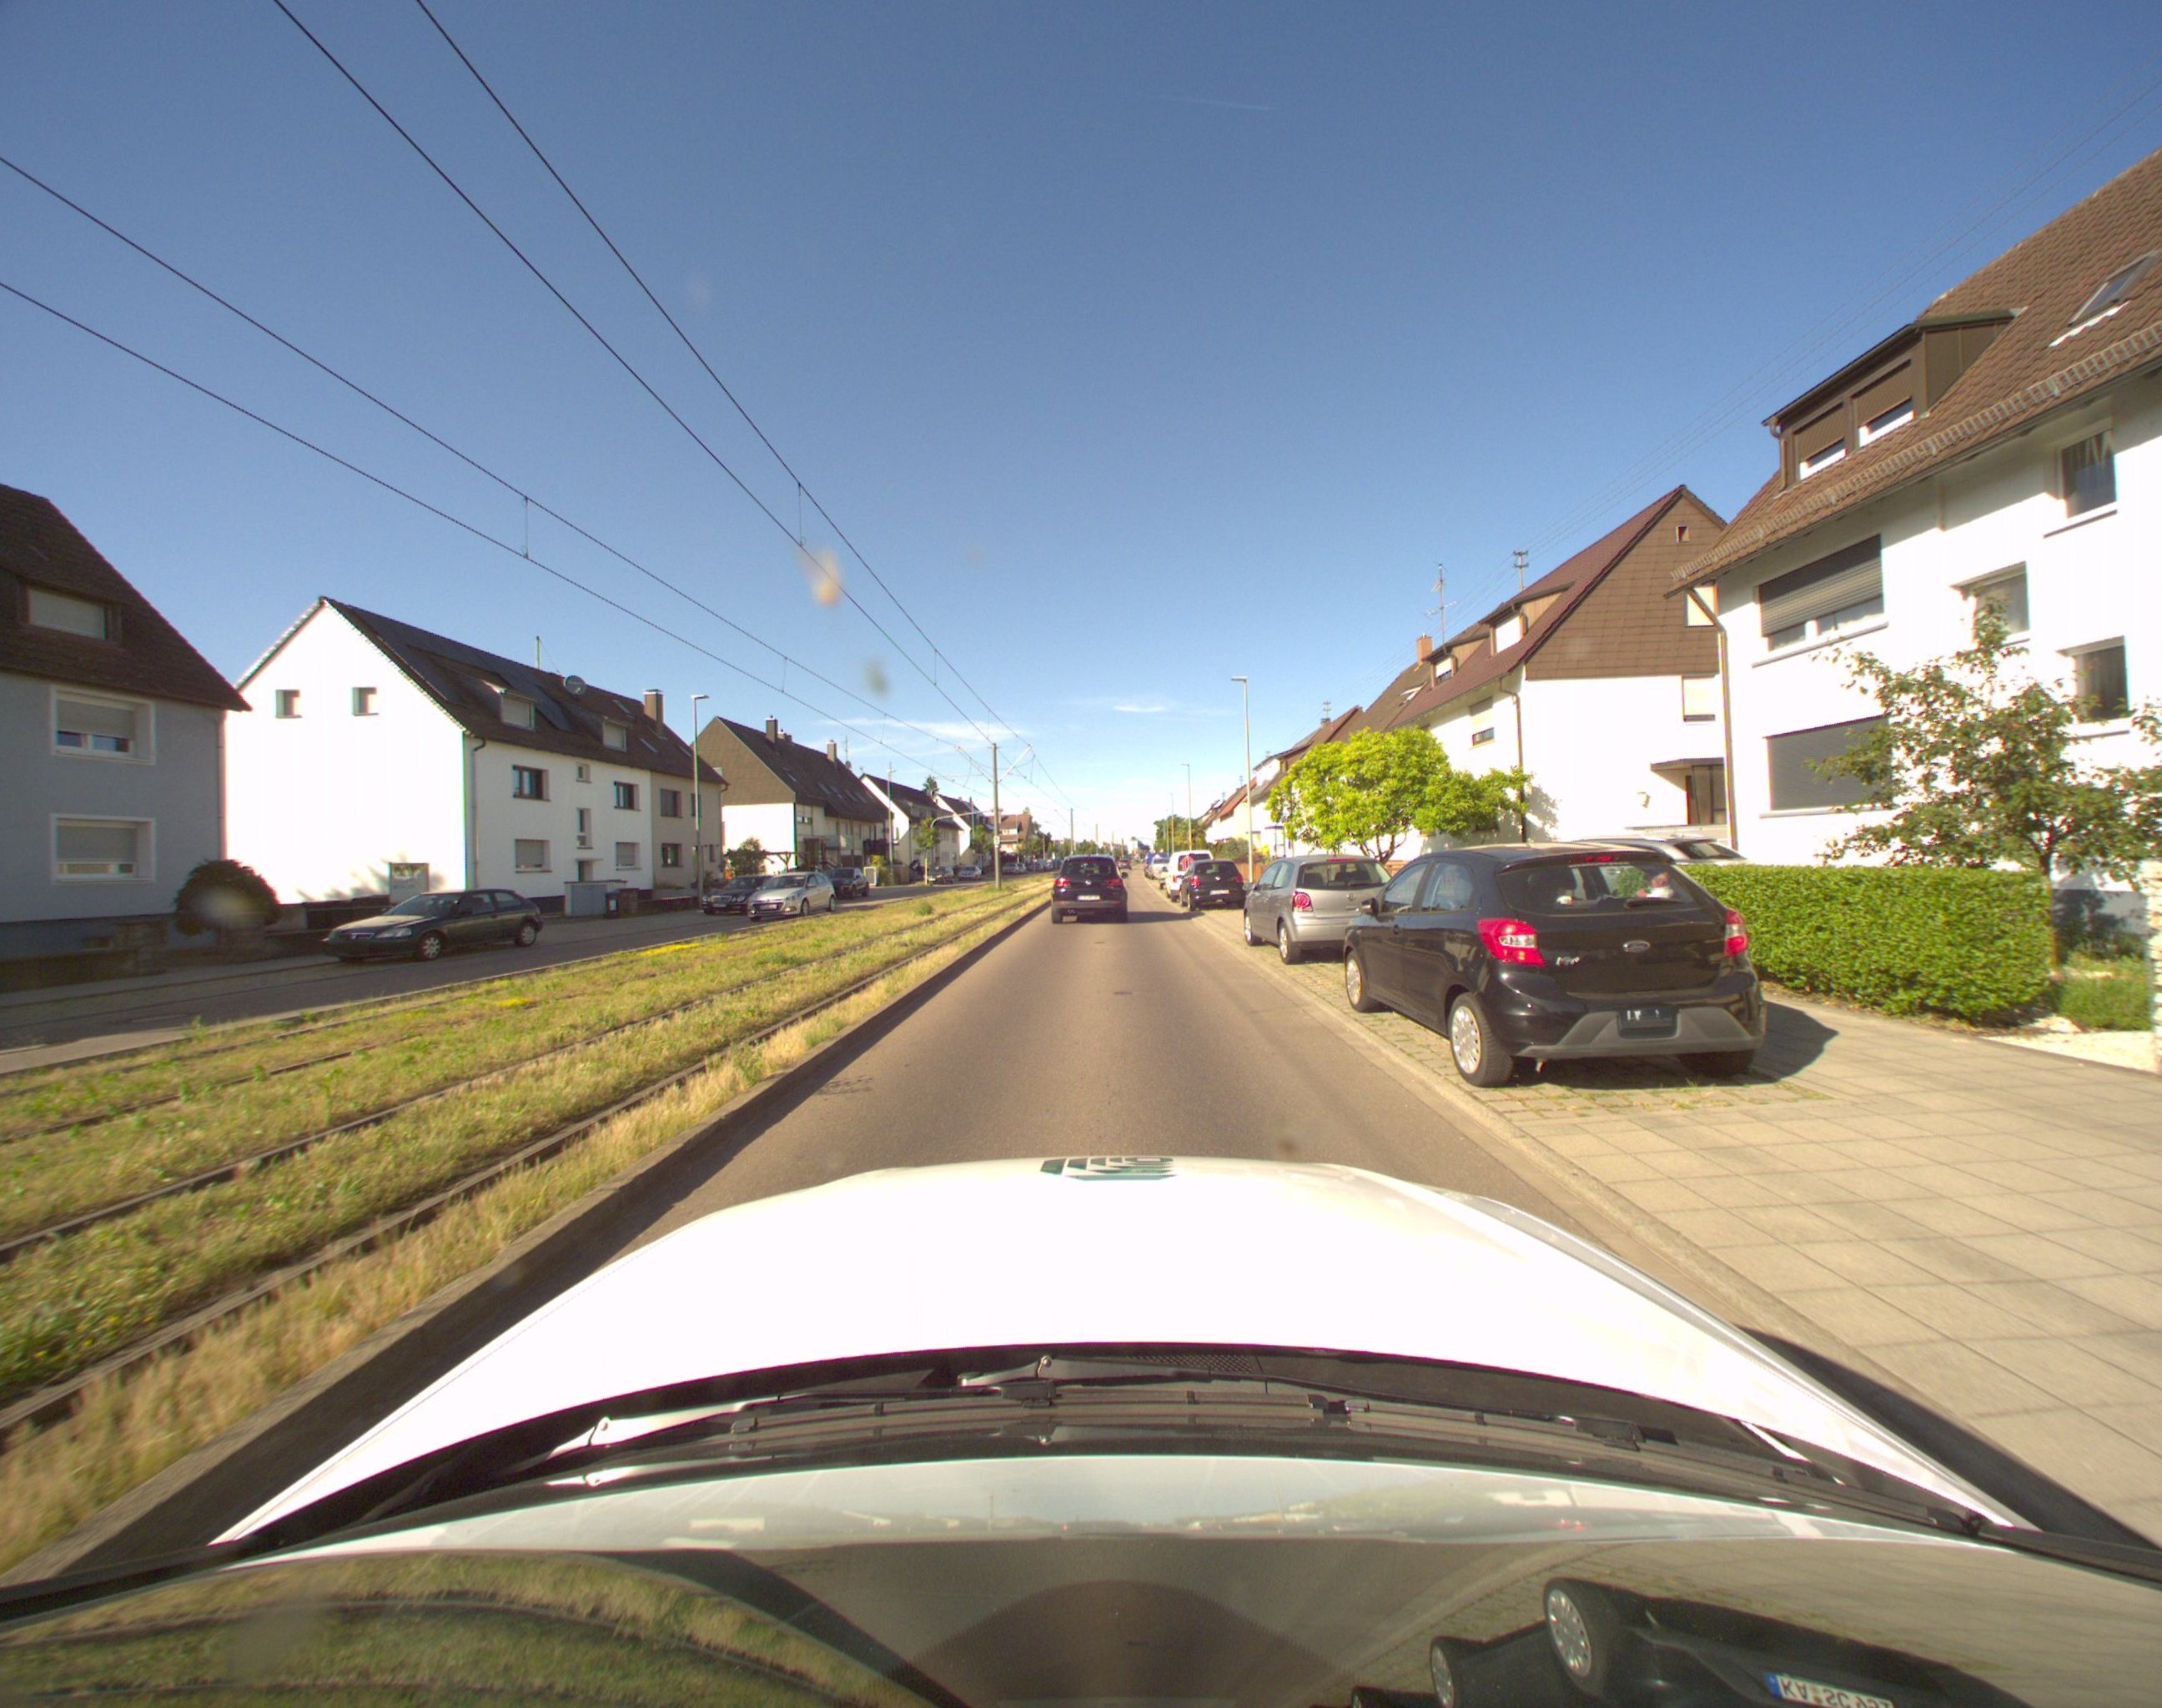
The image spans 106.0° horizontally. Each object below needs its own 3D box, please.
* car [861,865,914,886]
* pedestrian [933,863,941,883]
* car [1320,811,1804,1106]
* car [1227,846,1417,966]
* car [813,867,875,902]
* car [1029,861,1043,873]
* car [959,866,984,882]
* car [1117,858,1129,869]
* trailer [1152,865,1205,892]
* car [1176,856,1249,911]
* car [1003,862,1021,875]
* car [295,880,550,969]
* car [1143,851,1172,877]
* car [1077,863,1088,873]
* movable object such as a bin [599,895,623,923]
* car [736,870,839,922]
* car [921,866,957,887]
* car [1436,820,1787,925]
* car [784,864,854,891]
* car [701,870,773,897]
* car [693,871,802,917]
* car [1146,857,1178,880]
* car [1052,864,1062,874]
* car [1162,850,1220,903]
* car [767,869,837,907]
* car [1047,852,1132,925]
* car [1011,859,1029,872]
[{"bbox_3d":[-15.924,1.778,67.193,3.895,1.568,1.732,-2,-1,-5],"label":"car"},{"bbox_3d":[-12.421,1.629,70.220,0.466,1.746,0.536,-2,-1,2],"label":"pedestrian"},{"bbox_3d":[3.259,0.599,6.502,1.659,1.547,3.838,-4,-1,3],"label":"car"},{"bbox_3d":[3.475,0.692,12.625,1.610,1.475,4.449,-2,-1,0],"label":"car"},{"bbox_3d":[-12.265,1.515,42.430,1.797,1.597,4.810,-2,0,-1],"label":"car"},{"bbox_3d":[-6.725,1.982,121.898,1.653,1.581,4.002,-2,-2,3],"label":"car"},{"bbox_3d":[-10.268,1.920,76.575,1.612,1.409,3.720,-2,-2,3],"label":"car"},{"bbox_3d":[5.631,1.274,110.337,1.566,1.391,3.616,-2,0,2],"label":"car"},{"bbox_3d":[4.803,1.183,40.609,2.196,1.094,4.373,-4,-1,2],"label":"trailer"},{"bbox_3d":[3.886,0.848,24.693,1.664,1.453,4.128,-3,-1,2],"label":"car"},{"bbox_3d":[-8.480,1.740,99.692,1.652,1.497,3.582,-3,0,3],"label":"car"},{"bbox_3d":[-13.515,1.366,17.113,1.783,1.463,4.169,-2,0,3],"label":"car"},{"bbox_3d":[5.936,0.759,63.838,1.985,1.862,4.920,-2,0,3],"label":"car"},{"bbox_3d":[0.286,2.745,157.451,1.866,1.655,4.002,-2,-2,3],"label":"car"},{"bbox_3d":[-15.990,1.872,27.730,0.387,0.927,0.704,-2,-2,1],"label":"movable object such as a bin"},{"bbox_3d":[-9.443,1.344,26.548,1.701,1.491,4.026,-2,-2,3],"label":"car"},{"bbox_3d":[-11.065,1.710,63.696,1.610,1.453,3.725,-3,0,7],"label":"car"},{"bbox_3d":[8.938,0.315,14.323,2.002,1.445,4.844,-3,0,-23],"label":"car"},{"bbox_3d":[-18.112,1.608,56.425,4.154,1.617,1.758,-2,0,-2],"label":"car"},{"bbox_3d":[-23.744,2.007,56.291,4.138,1.654,1.859,-2,0,5],"label":"car"},{"bbox_3d":[-12.808,1.489,31.684,1.868,1.523,4.887,-2,-1,5],"label":"car"},{"bbox_3d":[5.699,1.021,57.462,1.780,1.441,4.459,-4,0,1],"label":"car"},{"bbox_3d":[-4.277,2.706,144.734,1.459,1.677,3.289,-2,-1,3],"label":"car"},{"bbox_3d":[4.036,0.793,30.498,1.683,1.776,4.659,-2,0,3],"label":"car"},{"bbox_3d":[-12.548,1.498,36.912,1.514,1.475,4.204,-2,0,3],"label":"car"},{"bbox_3d":[0.106,0.820,20.996,1.809,1.671,4.250,0,-1,-5],"label":"car"},{"bbox_3d":[-7.954,1.487,105.843,1.796,1.632,4.003,-2,0,3],"label":"car"}]
